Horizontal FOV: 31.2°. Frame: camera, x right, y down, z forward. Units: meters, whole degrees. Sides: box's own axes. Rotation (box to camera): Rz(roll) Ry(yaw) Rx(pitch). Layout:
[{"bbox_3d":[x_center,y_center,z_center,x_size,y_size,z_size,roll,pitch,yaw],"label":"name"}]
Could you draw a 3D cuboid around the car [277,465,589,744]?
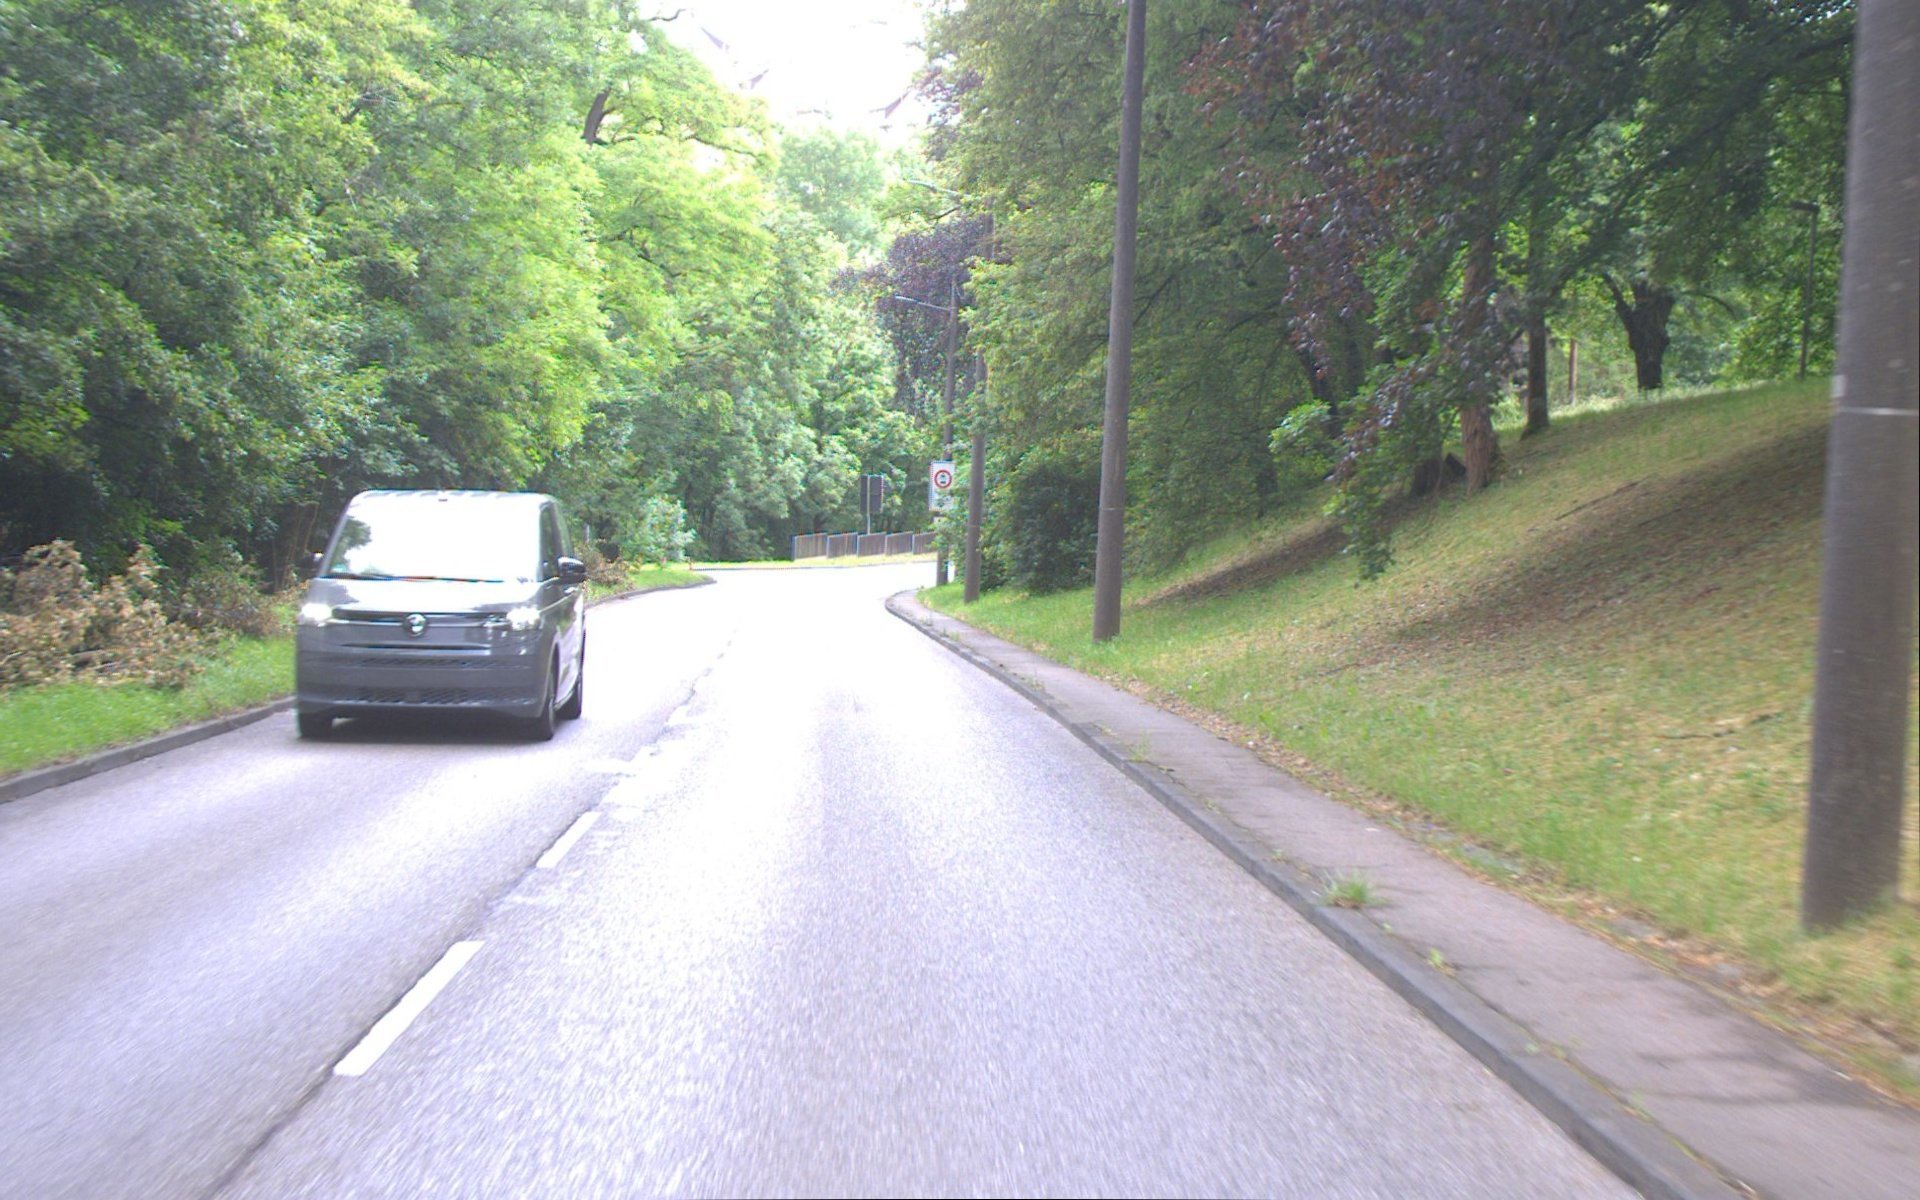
[{"bbox_3d":[-4.028,0.003,27.019,1.993,1.941,4.946,1,1,-4],"label":"car"}]
